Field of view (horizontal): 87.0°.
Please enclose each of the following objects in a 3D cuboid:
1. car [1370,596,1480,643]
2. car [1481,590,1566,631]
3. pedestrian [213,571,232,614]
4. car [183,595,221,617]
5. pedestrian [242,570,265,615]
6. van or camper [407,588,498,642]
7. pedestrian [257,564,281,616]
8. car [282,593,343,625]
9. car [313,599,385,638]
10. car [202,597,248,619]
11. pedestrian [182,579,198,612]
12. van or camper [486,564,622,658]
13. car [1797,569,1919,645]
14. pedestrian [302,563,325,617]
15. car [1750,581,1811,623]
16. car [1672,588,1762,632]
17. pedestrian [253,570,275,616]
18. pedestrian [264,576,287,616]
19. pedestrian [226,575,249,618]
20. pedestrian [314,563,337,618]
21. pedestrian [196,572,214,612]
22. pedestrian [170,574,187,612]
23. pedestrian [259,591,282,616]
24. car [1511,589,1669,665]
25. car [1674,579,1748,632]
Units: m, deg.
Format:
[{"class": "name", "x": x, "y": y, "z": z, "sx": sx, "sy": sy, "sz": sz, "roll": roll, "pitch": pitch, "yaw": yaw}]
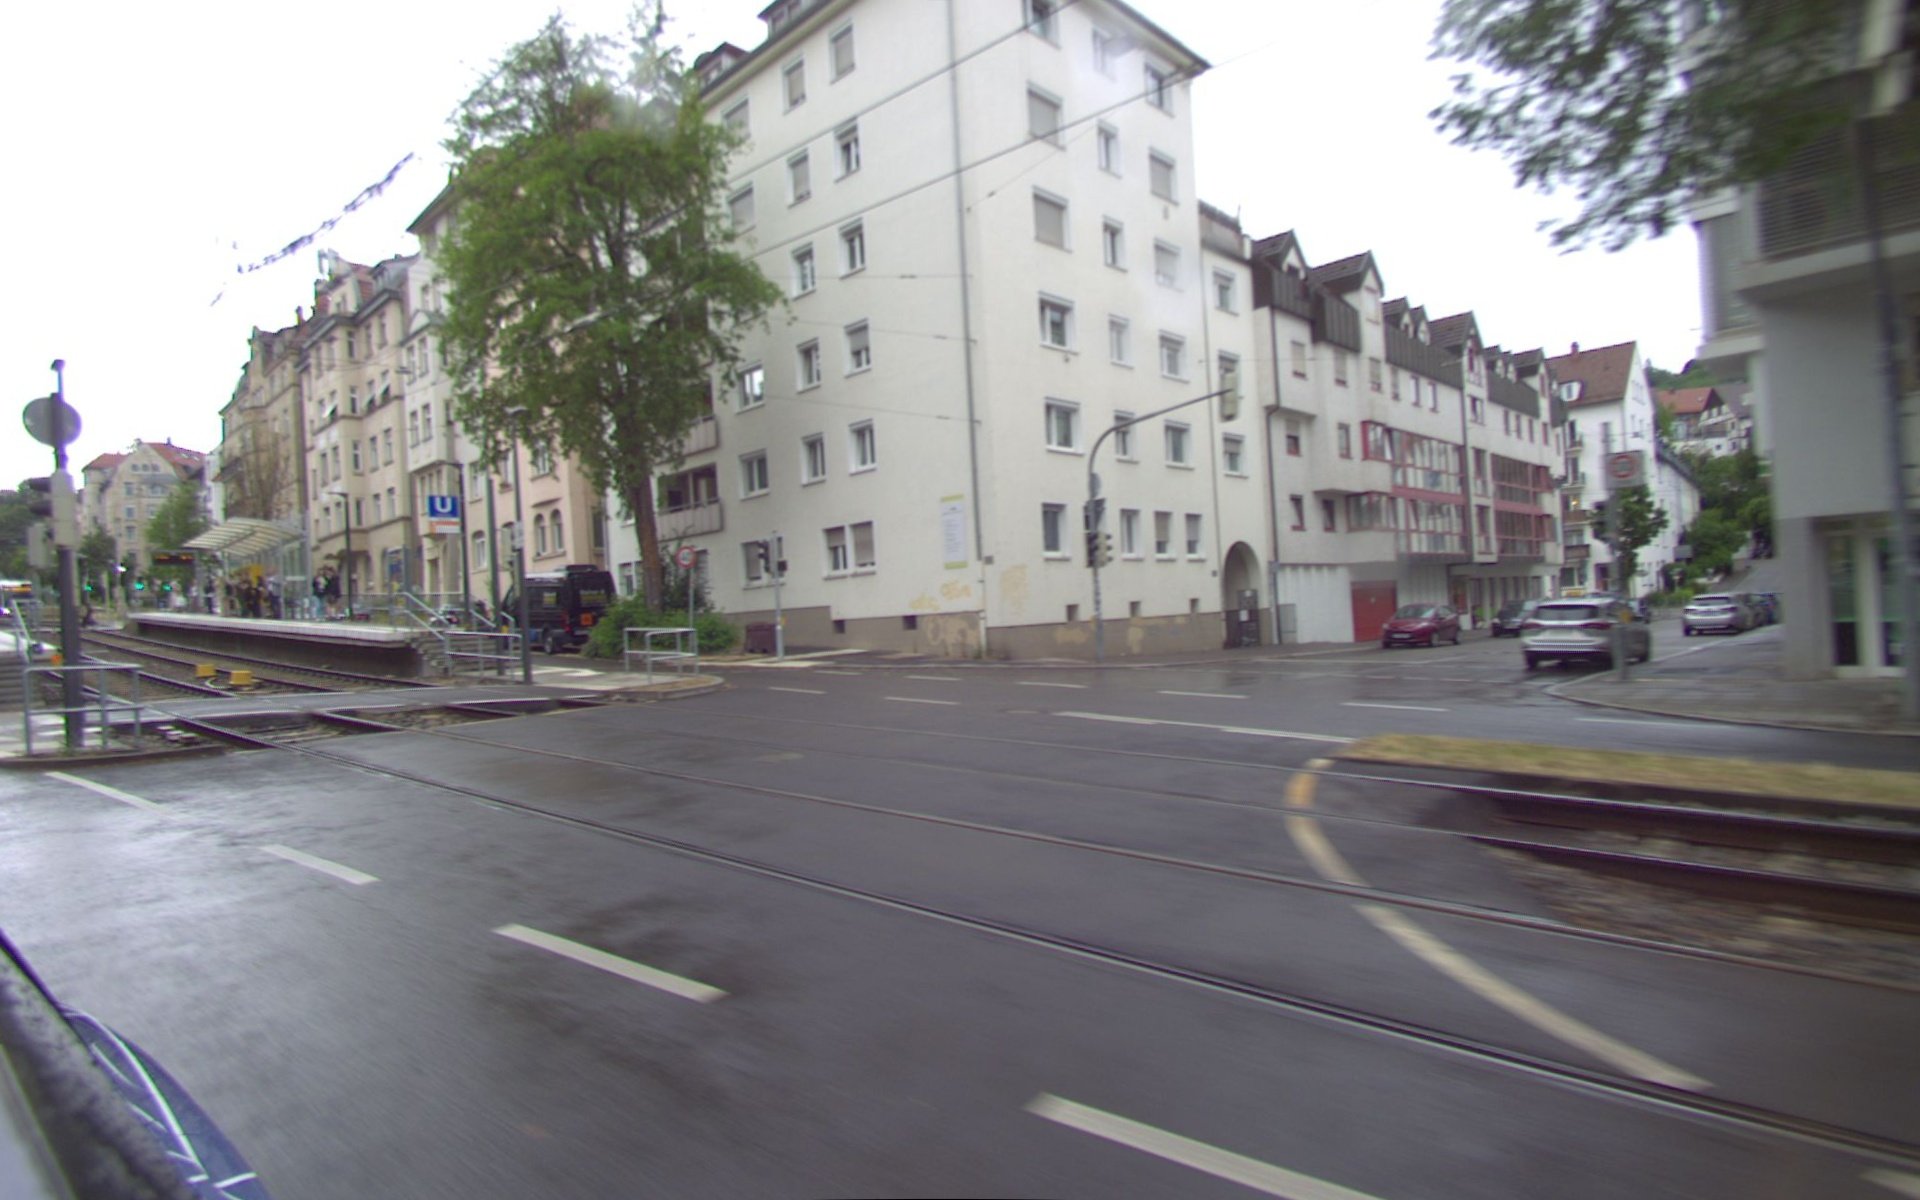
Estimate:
[{"class": "car", "x": 16.008, "y": 0.622, "z": 34.699, "sx": 2.001, "sy": 1.513, "sz": 4.661, "roll": -1, "pitch": 0, "yaw": 44}, {"class": "car", "x": 23.774, "y": 0.406, "z": 42.640, "sx": 2.001, "sy": 1.634, "sz": 4.661, "roll": -1, "pitch": 0, "yaw": 44}, {"class": "pedestrian", "x": -32.314, "y": -0.333, "z": 44.343, "sx": 0.762, "sy": 1.852, "sz": 0.510, "roll": 0, "pitch": 0, "yaw": 43}, {"class": "car", "x": -57.651, "y": 0.450, "z": 76.938, "sx": 4.176, "sy": 1.559, "sz": 1.612, "roll": 0, "pitch": 1, "yaw": 44}, {"class": "pedestrian", "x": -26.676, "y": -0.263, "z": 38.203, "sx": 0.591, "sy": 1.678, "sz": 0.587, "roll": 0, "pitch": 0, "yaw": 43}, {"class": "van or camper", "x": -20.092, "y": 0.576, "z": 40.012, "sx": 4.000, "sy": 2.029, "sz": 1.972, "roll": -1, "pitch": 0, "yaw": 43}, {"class": "pedestrian", "x": -23.773, "y": -0.346, "z": 34.813, "sx": 0.614, "sy": 1.754, "sz": 0.544, "roll": 0, "pitch": 0, "yaw": 43}, {"class": "car", "x": -35.208, "y": 0.469, "z": 54.984, "sx": 1.901, "sy": 1.634, "sz": 4.538, "roll": 0, "pitch": 0, "yaw": -45}, {"class": "car", "x": -29.448, "y": 0.846, "z": 48.696, "sx": 1.970, "sy": 1.745, "sz": 4.818, "roll": 0, "pitch": 1, "yaw": -44}, {"class": "car", "x": -50.977, "y": 0.512, "z": 70.137, "sx": 4.868, "sy": 1.453, "sz": 1.698, "roll": 0, "pitch": 1, "yaw": 43}, {"class": "pedestrian", "x": -37.915, "y": -0.228, "z": 49.835, "sx": 0.563, "sy": 1.617, "sz": 0.510, "roll": 0, "pitch": 0, "yaw": 43}, {"class": "van or camper", "x": -13.273, "y": 0.355, "z": 32.940, "sx": 4.858, "sy": 2.826, "sz": 1.974, "roll": -1, "pitch": 0, "yaw": 39}, {"class": "car", "x": 20.224, "y": 0.144, "z": 21.265, "sx": 3.995, "sy": 1.546, "sz": 1.683, "roll": -1, "pitch": 0, "yaw": 39}, {"class": "pedestrian", "x": -20.925, "y": -0.318, "z": 32.768, "sx": 0.563, "sy": 1.754, "sz": 0.477, "roll": 0, "pitch": 0, "yaw": 43}, {"class": "car", "x": 40.891, "y": 0.099, "z": 50.383, "sx": 1.983, "sy": 2.029, "sz": 4.388, "roll": -1, "pitch": 0, "yaw": 44}, {"class": "car", "x": 27.115, "y": 0.322, "z": 36.179, "sx": 2.001, "sy": 1.464, "sz": 4.661, "roll": -1, "pitch": 0, "yaw": 44}, {"class": "pedestrian", "x": -25.789, "y": -0.254, "z": 37.501, "sx": 0.614, "sy": 1.678, "sz": 0.544, "roll": 0, "pitch": 0, "yaw": 43}, {"class": "pedestrian", "x": -24.354, "y": -0.135, "z": 36.025, "sx": 0.614, "sy": 1.424, "sz": 0.544, "roll": 0, "pitch": 0, "yaw": 43}, {"class": "pedestrian", "x": -28.419, "y": -0.121, "z": 39.781, "sx": 0.762, "sy": 1.678, "sz": 0.587, "roll": 0, "pitch": 0, "yaw": 43}, {"class": "pedestrian", "x": -20.375, "y": -0.313, "z": 32.492, "sx": 0.563, "sy": 1.754, "sz": 0.477, "roll": 0, "pitch": 0, "yaw": 43}, {"class": "pedestrian", "x": -34.899, "y": -0.356, "z": 46.764, "sx": 0.762, "sy": 1.852, "sz": 0.510, "roll": 0, "pitch": 0, "yaw": 43}, {"class": "pedestrian", "x": -38.575, "y": -0.358, "z": 49.974, "sx": 0.599, "sy": 1.864, "sz": 0.555, "roll": 0, "pitch": 0, "yaw": 43}, {"class": "pedestrian", "x": -24.983, "y": 0.132, "z": 36.668, "sx": 0.614, "sy": 0.878, "sz": 0.544, "roll": 0, "pitch": 0, "yaw": 43}, {"class": "car", "x": 13.801, "y": 0.526, "z": 22.049, "sx": 2.001, "sy": 1.483, "sz": 4.661, "roll": -1, "pitch": 0, "yaw": 44}, {"class": "car", "x": 30.628, "y": 0.211, "z": 41.233, "sx": 1.871, "sy": 2.029, "sz": 4.388, "roll": -1, "pitch": 0, "yaw": 44}]
